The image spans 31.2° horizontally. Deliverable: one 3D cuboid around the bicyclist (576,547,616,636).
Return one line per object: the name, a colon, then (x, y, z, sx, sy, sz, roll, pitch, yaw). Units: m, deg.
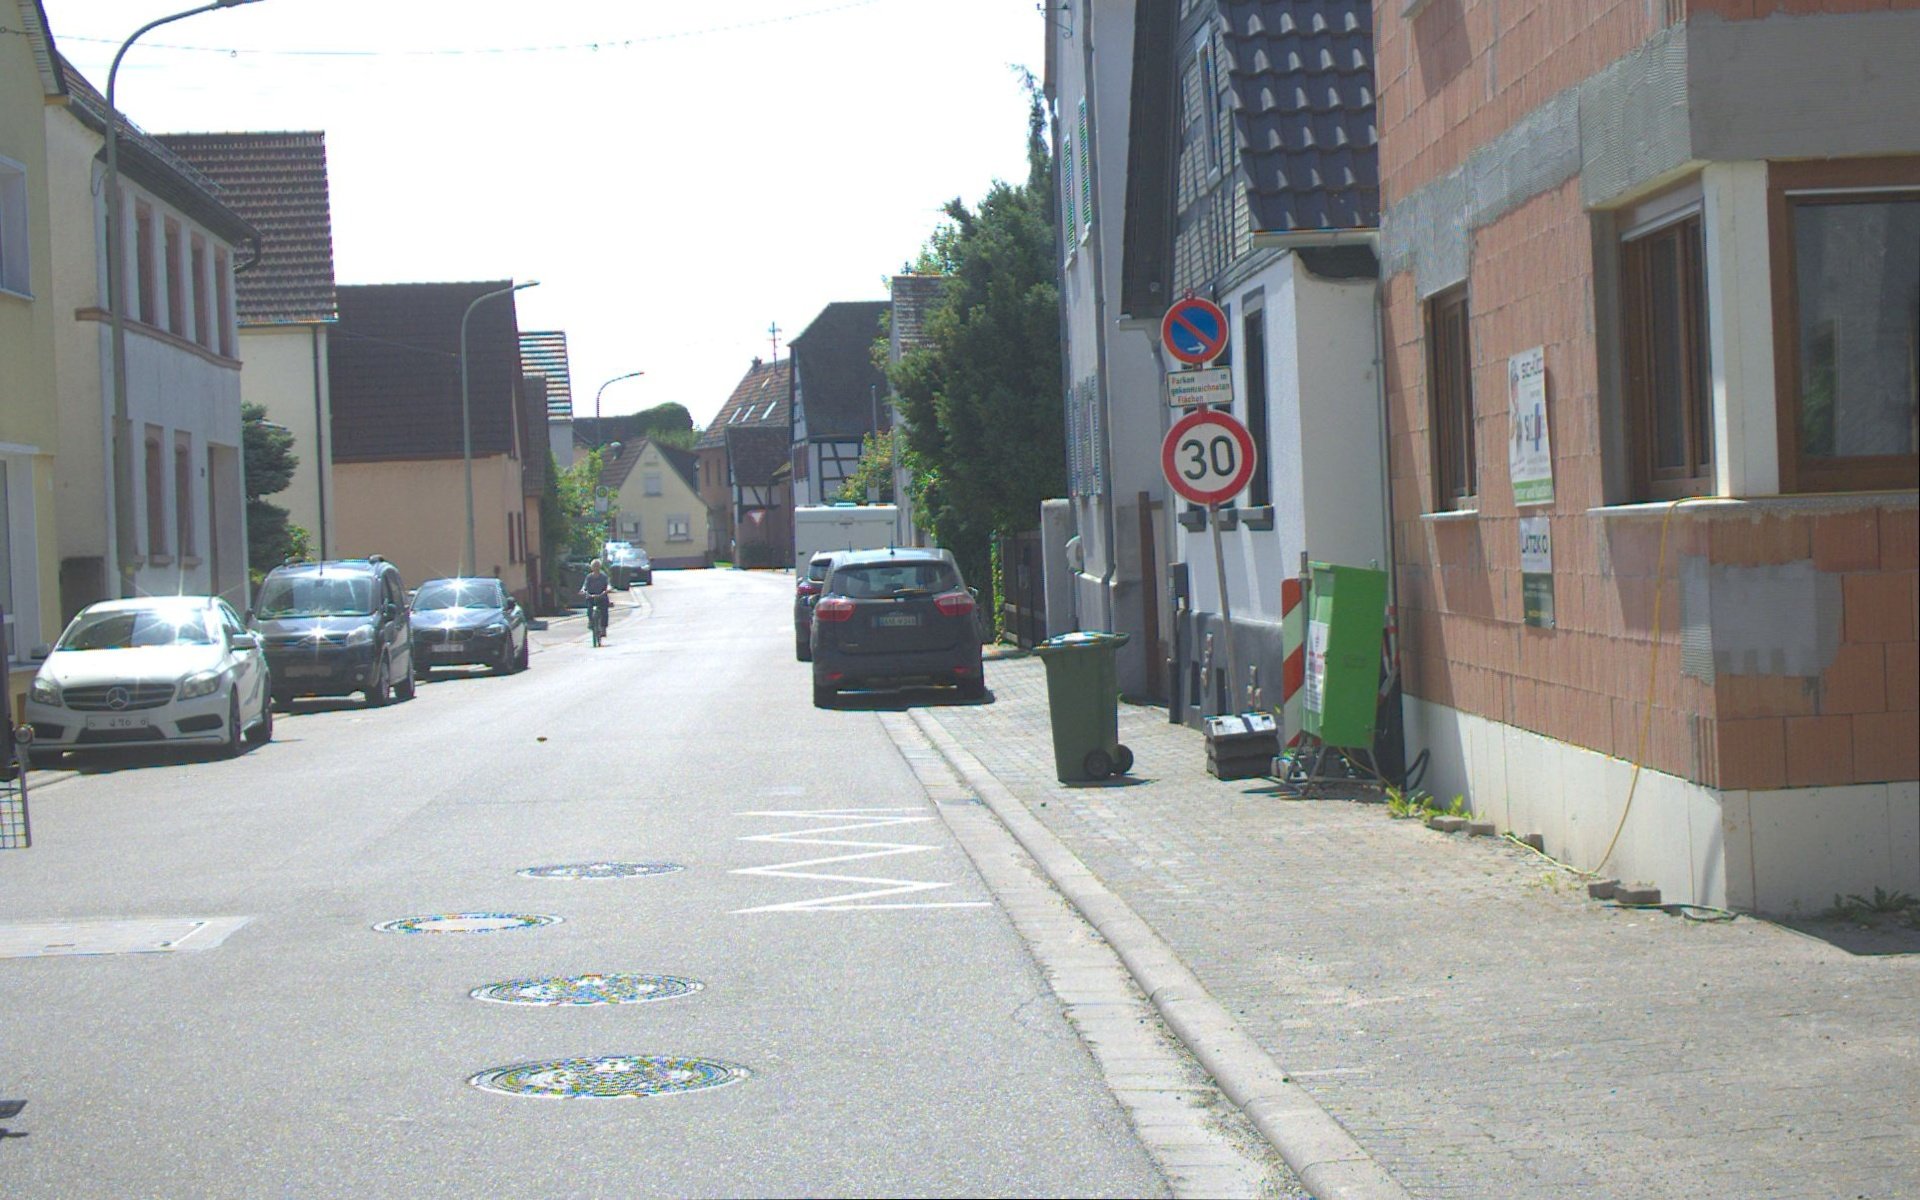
bicyclist: (-7.403, -0.173, 69.885, 0.703, 1.765, 0.625, -3, 1, -6)

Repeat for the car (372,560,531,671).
car: (-7.997, 0.205, 54.468, 1.844, 1.521, 4.766, -4, 1, -2)

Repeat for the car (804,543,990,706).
car: (-0.712, 0.211, 37.283, 1.797, 1.555, 4.632, -4, 1, -2)

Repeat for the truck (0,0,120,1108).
truck: (-3.878, -0.340, 5.196, 2.695, 3.737, 10.870, -4, 1, -2)

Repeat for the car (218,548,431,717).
car: (-7.803, 0.350, 42.577, 1.834, 1.831, 4.354, -4, 1, -2)

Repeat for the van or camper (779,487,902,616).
van or camper: (-2.734, -1.096, 77.725, 2.521, 2.687, 4.556, -4, 1, -3)

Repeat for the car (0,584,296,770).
car: (-7.334, 0.643, 31.381, 1.834, 1.459, 4.271, -3, 1, -3)

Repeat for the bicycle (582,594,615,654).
bicycle: (-7.350, 0.474, 69.949, 0.589, 1.144, 1.949, -4, 1, -6)

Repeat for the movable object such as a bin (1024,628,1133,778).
movable object such as a bin: (0.768, 0.660, 22.199, 0.538, 0.910, 0.551, -3, 1, 15)

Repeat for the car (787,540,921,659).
car: (-1.609, -0.047, 53.585, 1.794, 1.625, 4.361, -4, 2, 1)
